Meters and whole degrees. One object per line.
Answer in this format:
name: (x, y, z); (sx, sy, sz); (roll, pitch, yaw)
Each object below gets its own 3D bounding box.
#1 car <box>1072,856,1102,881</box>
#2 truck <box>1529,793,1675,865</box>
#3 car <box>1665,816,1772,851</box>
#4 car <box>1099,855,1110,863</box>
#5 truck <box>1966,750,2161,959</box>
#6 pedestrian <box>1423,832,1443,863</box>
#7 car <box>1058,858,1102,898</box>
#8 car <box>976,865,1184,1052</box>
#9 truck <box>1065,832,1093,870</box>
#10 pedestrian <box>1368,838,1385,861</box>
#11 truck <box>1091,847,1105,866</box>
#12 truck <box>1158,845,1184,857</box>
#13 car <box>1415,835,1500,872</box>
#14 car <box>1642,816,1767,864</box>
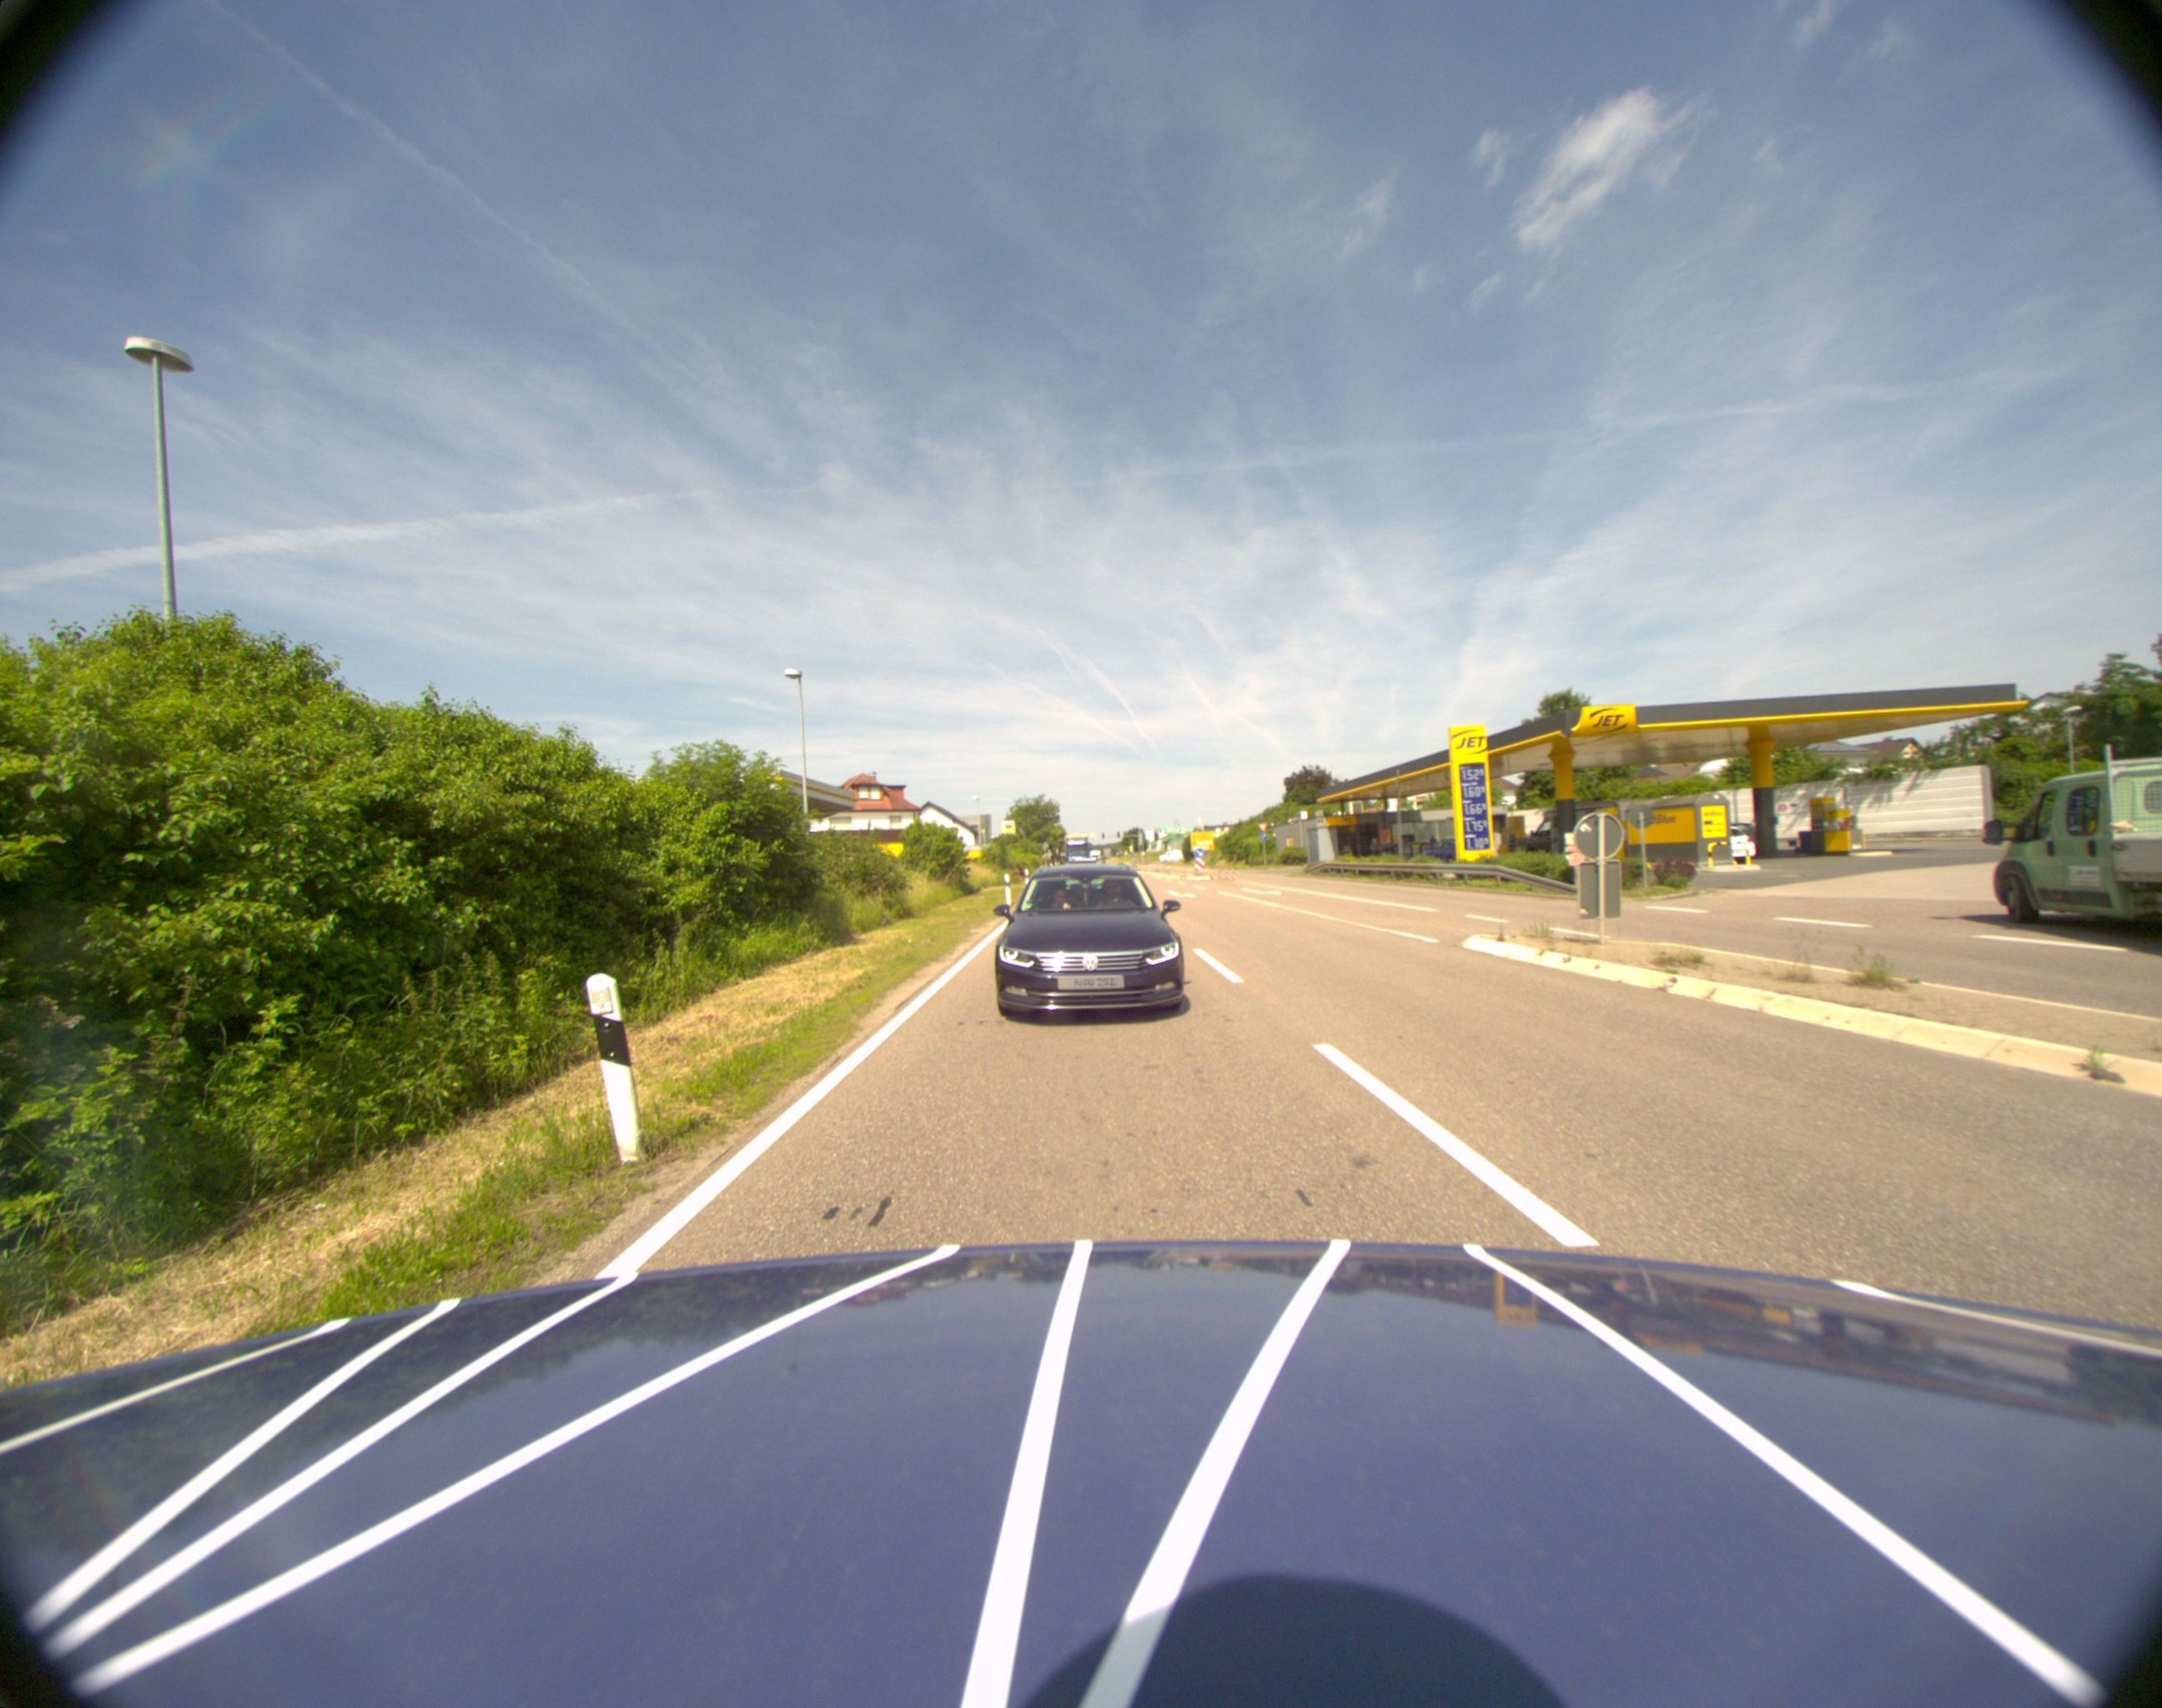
car: (0.408, 0.927, 50.271); (1.814, 1.466, 3.974); (-2, 0, 1)
truck: (23.699, -1.072, 34.985); (2.250, 2.906, 6.282); (-2, 1, -1)
car: (32.033, -0.994, 38.313); (1.753, 1.603, 3.873); (-2, 0, -10)
car: (3.894, 0.810, 127.717); (1.786, 1.210, 4.000); (-3, 0, 2)
truck: (13.572, -0.060, 8.782); (2.243, 2.361, 6.361); (-3, 0, 29)
pedestrian: (21.284, -0.383, 45.931); (0.798, 1.827, 0.640); (-3, 0, 1)
car: (0.013, 0.947, 31.045); (1.470, 1.451, 3.798); (-2, 0, 5)
car: (0.023, 0.941, 9.058); (1.756, 1.493, 4.925); (-2, 0, 1)
truck: (-0.115, -0.338, 88.550); (2.855, 3.999, 12.916); (-2, 0, 1)
pedestrian: (18.741, -0.308, 48.184); (0.913, 1.419, 0.495); (-2, 1, 16)
truck: (3.631, 0.442, 168.605); (2.855, 3.999, 12.916); (-2, 0, 1)
truck: (17.766, -0.545, 150.353); (4.770, 1.997, 2.000); (-3, 0, 3)
car: (18.880, 0.009, 38.353); (1.999, 1.696, 4.264); (-2, 0, -3)
car: (24.109, -0.485, 29.591); (1.736, 1.717, 4.001); (-1, 0, 3)
